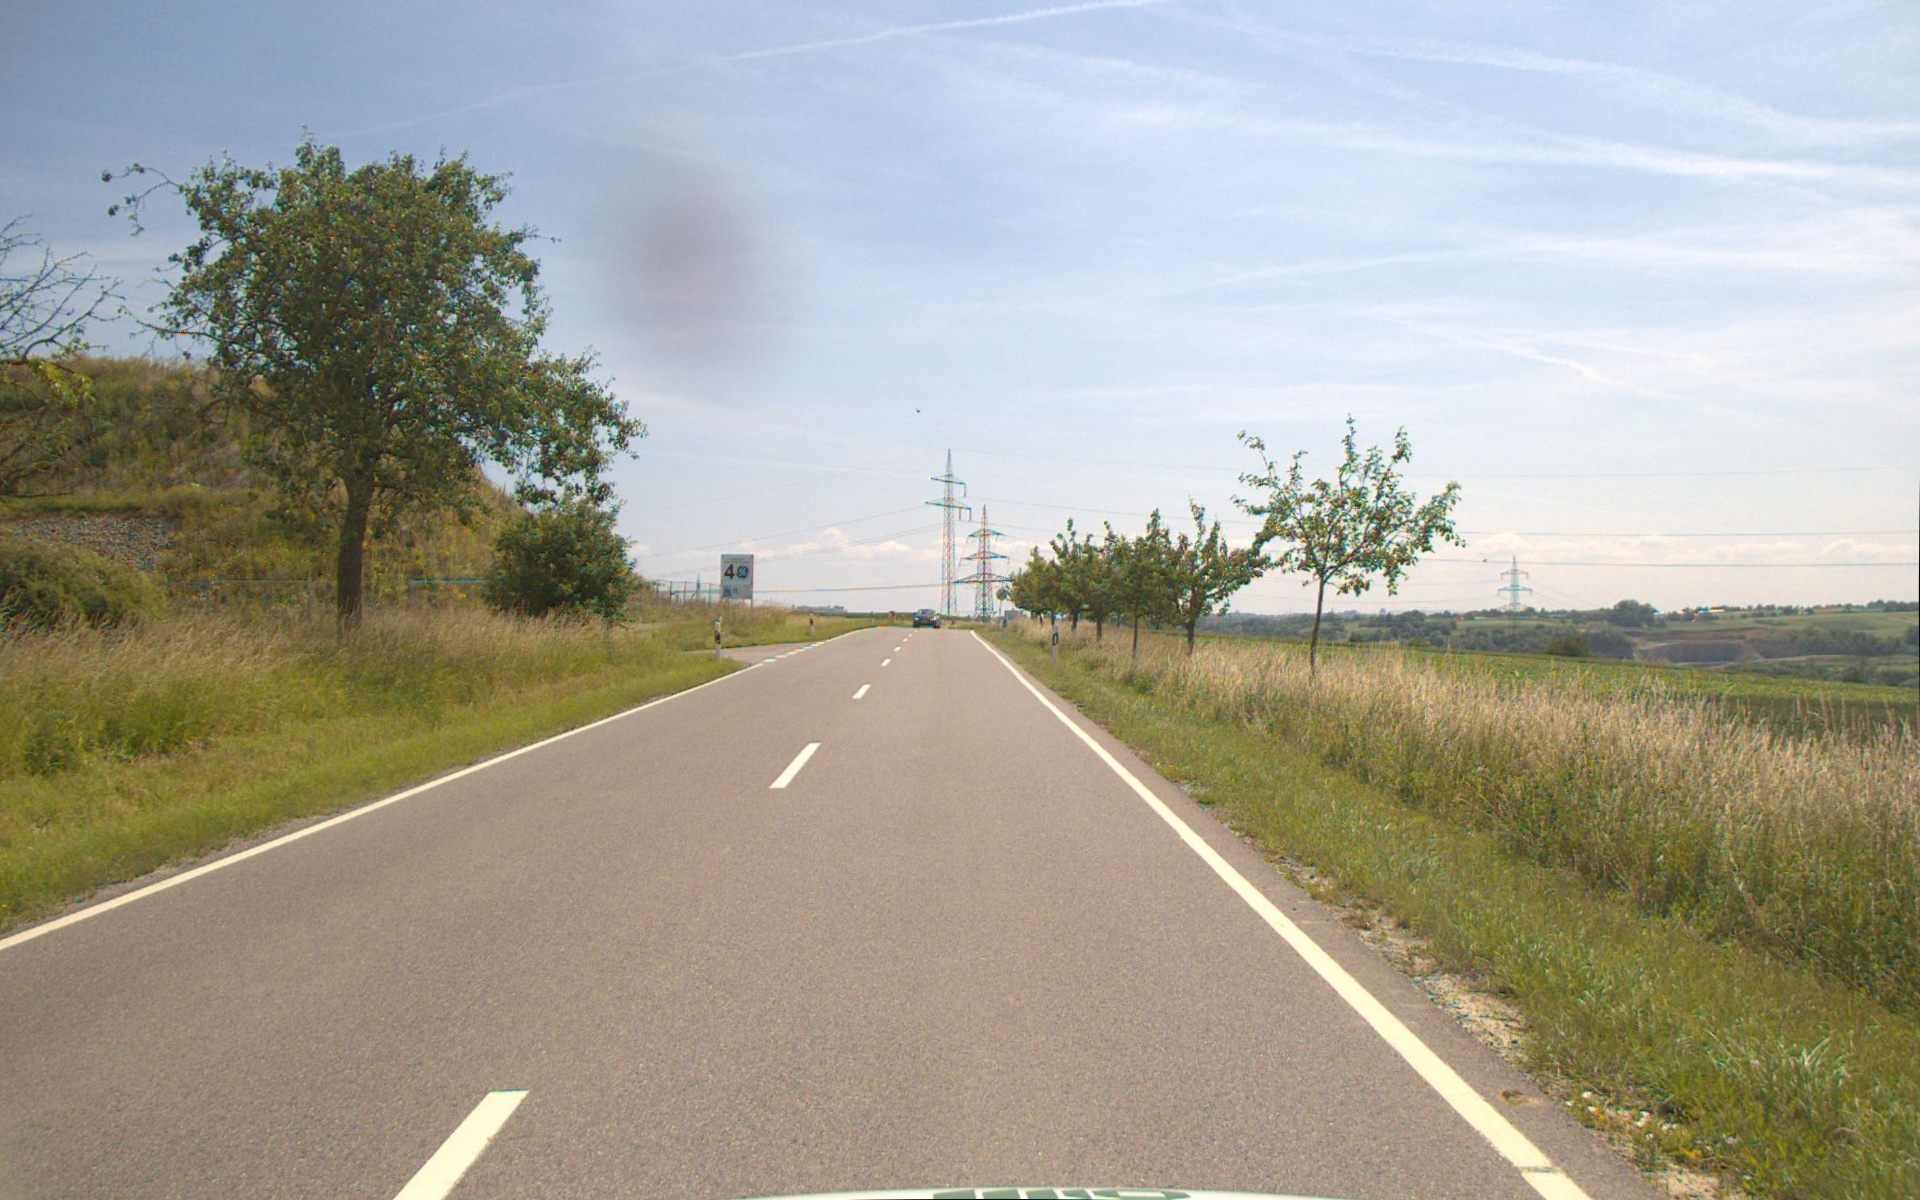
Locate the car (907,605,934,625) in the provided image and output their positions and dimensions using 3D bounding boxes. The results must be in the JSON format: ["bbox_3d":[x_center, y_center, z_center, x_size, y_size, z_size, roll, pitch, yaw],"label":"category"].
[{"bbox_3d":[-2.980,1.120,125.730,1.784,1.435,4.001,1,0,2],"label":"car"}]
